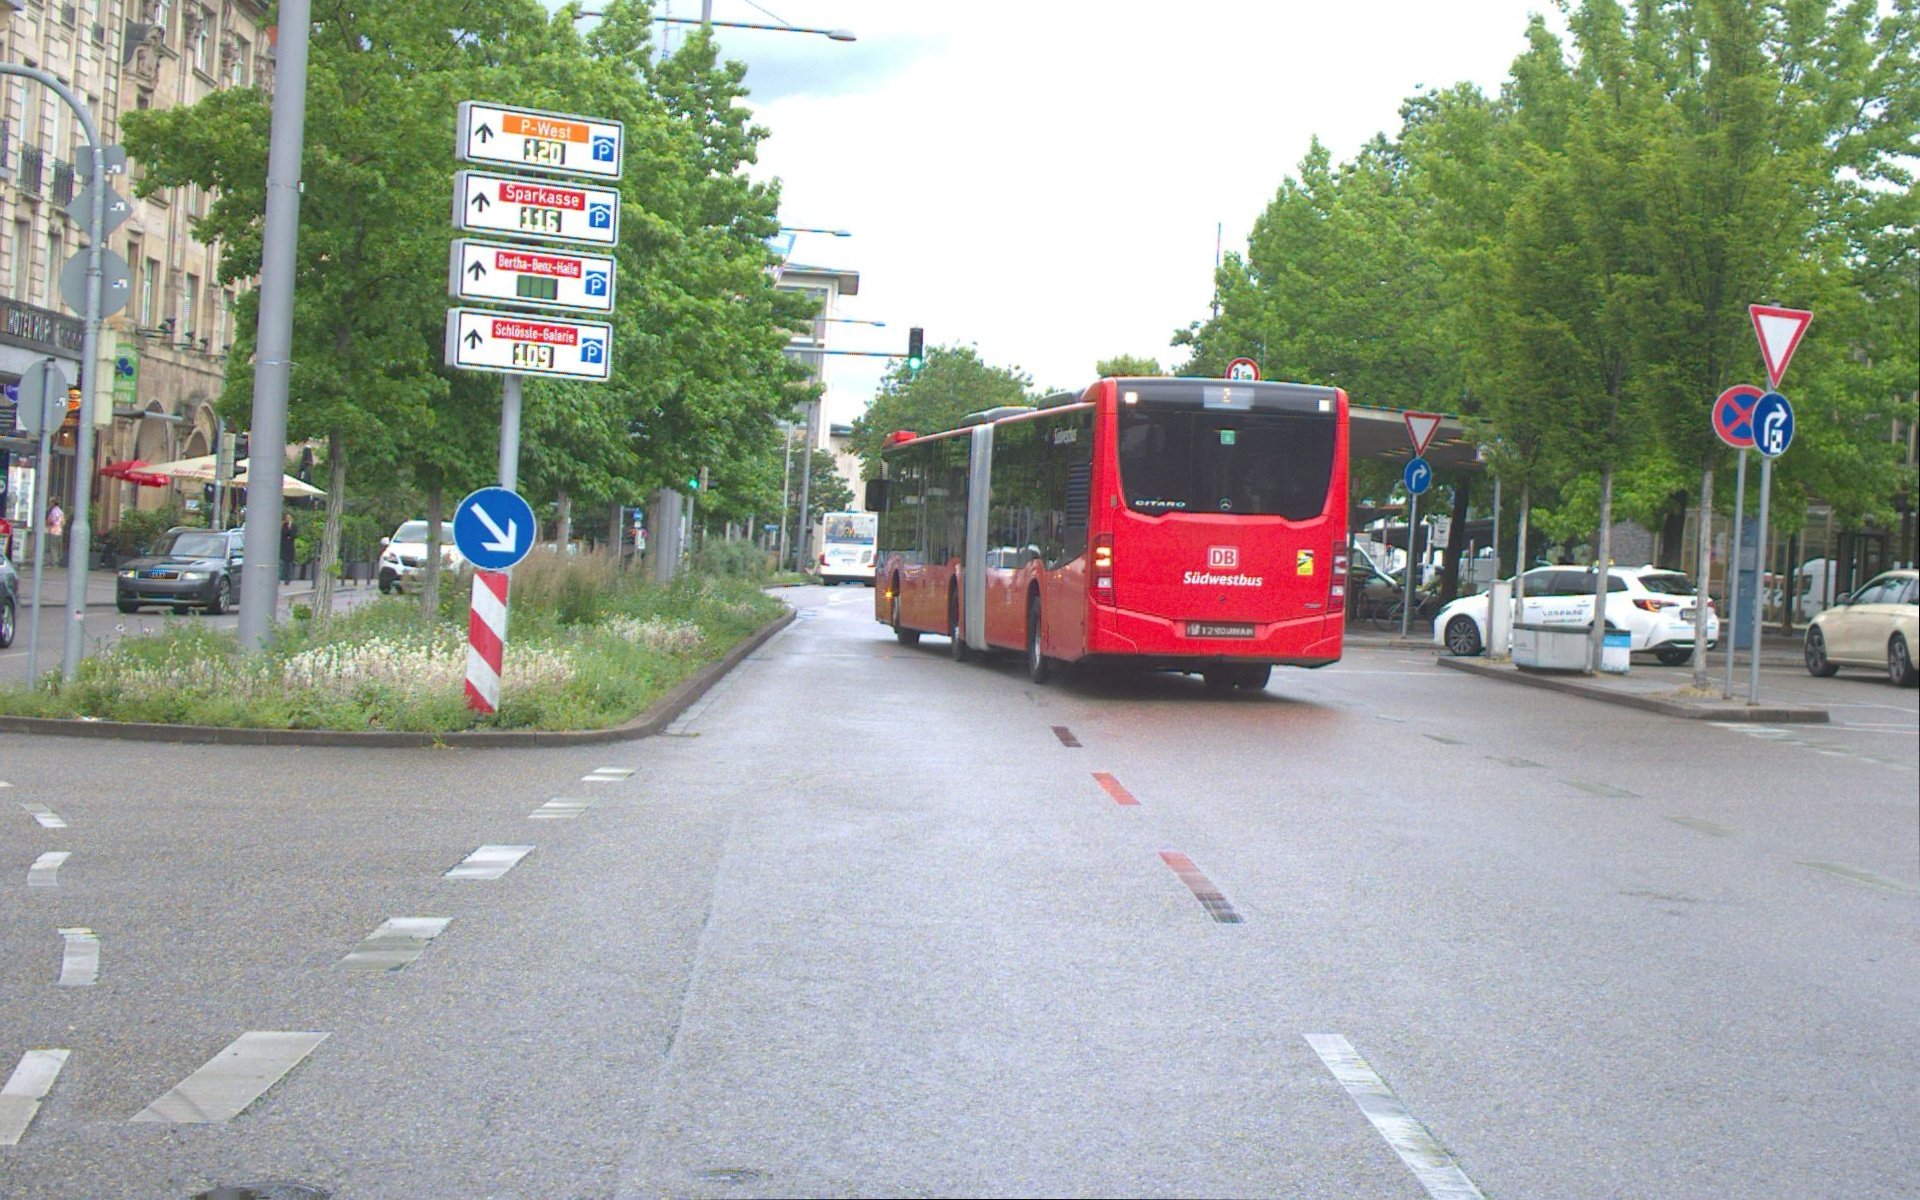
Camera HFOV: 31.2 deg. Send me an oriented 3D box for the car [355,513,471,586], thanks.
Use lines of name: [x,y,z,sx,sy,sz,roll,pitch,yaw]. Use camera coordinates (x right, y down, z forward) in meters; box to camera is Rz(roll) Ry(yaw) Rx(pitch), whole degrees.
car: [-12.078,-1.138,76.114,1.755,1.364,4.060,2,4,2]

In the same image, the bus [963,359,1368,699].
bus: [1.957,-0.742,36.619,2.742,3.163,8.122,1,1,-8]

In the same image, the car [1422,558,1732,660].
car: [9.112,0.108,51.066,1.774,1.380,4.366,0,1,-41]

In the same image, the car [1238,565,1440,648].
car: [9.066,0.152,82.280,4.335,1.851,2.001,1,1,-20]

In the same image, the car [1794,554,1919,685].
car: [12.619,0.230,44.300,1.993,1.594,4.824,1,1,-7]

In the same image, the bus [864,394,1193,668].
bus: [0.673,-0.897,45.393,2.742,3.163,10.197,1,1,-8]

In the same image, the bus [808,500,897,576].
bus: [-4.959,-2.804,155.814,3.760,3.198,15.528,1,1,-3]

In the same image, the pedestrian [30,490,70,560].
pedestrian: [-19.763,-1.621,74.645,0.661,1.505,0.519,1,1,-38]

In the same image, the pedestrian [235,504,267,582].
pedestrian: [-15.910,-1.275,77.163,0.575,1.726,0.609,2,1,-1]

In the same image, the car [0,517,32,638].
car: [-12.514,-0.236,40.791,1.755,1.435,4.060,2,3,2]

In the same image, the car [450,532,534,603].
car: [-12.147,-0.861,89.386,1.993,1.752,4.001,1,1,-6]

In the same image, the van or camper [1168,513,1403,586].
van or camper: [9.760,-1.497,102.907,6.753,2.007,2.385,1,0,-26]

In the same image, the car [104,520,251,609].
car: [-13.052,-0.619,57.566,1.754,1.364,4.061,1,2,-4]

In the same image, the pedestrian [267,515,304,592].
pedestrian: [-15.152,-1.039,77.197,0.674,1.696,0.634,2,1,-1]
